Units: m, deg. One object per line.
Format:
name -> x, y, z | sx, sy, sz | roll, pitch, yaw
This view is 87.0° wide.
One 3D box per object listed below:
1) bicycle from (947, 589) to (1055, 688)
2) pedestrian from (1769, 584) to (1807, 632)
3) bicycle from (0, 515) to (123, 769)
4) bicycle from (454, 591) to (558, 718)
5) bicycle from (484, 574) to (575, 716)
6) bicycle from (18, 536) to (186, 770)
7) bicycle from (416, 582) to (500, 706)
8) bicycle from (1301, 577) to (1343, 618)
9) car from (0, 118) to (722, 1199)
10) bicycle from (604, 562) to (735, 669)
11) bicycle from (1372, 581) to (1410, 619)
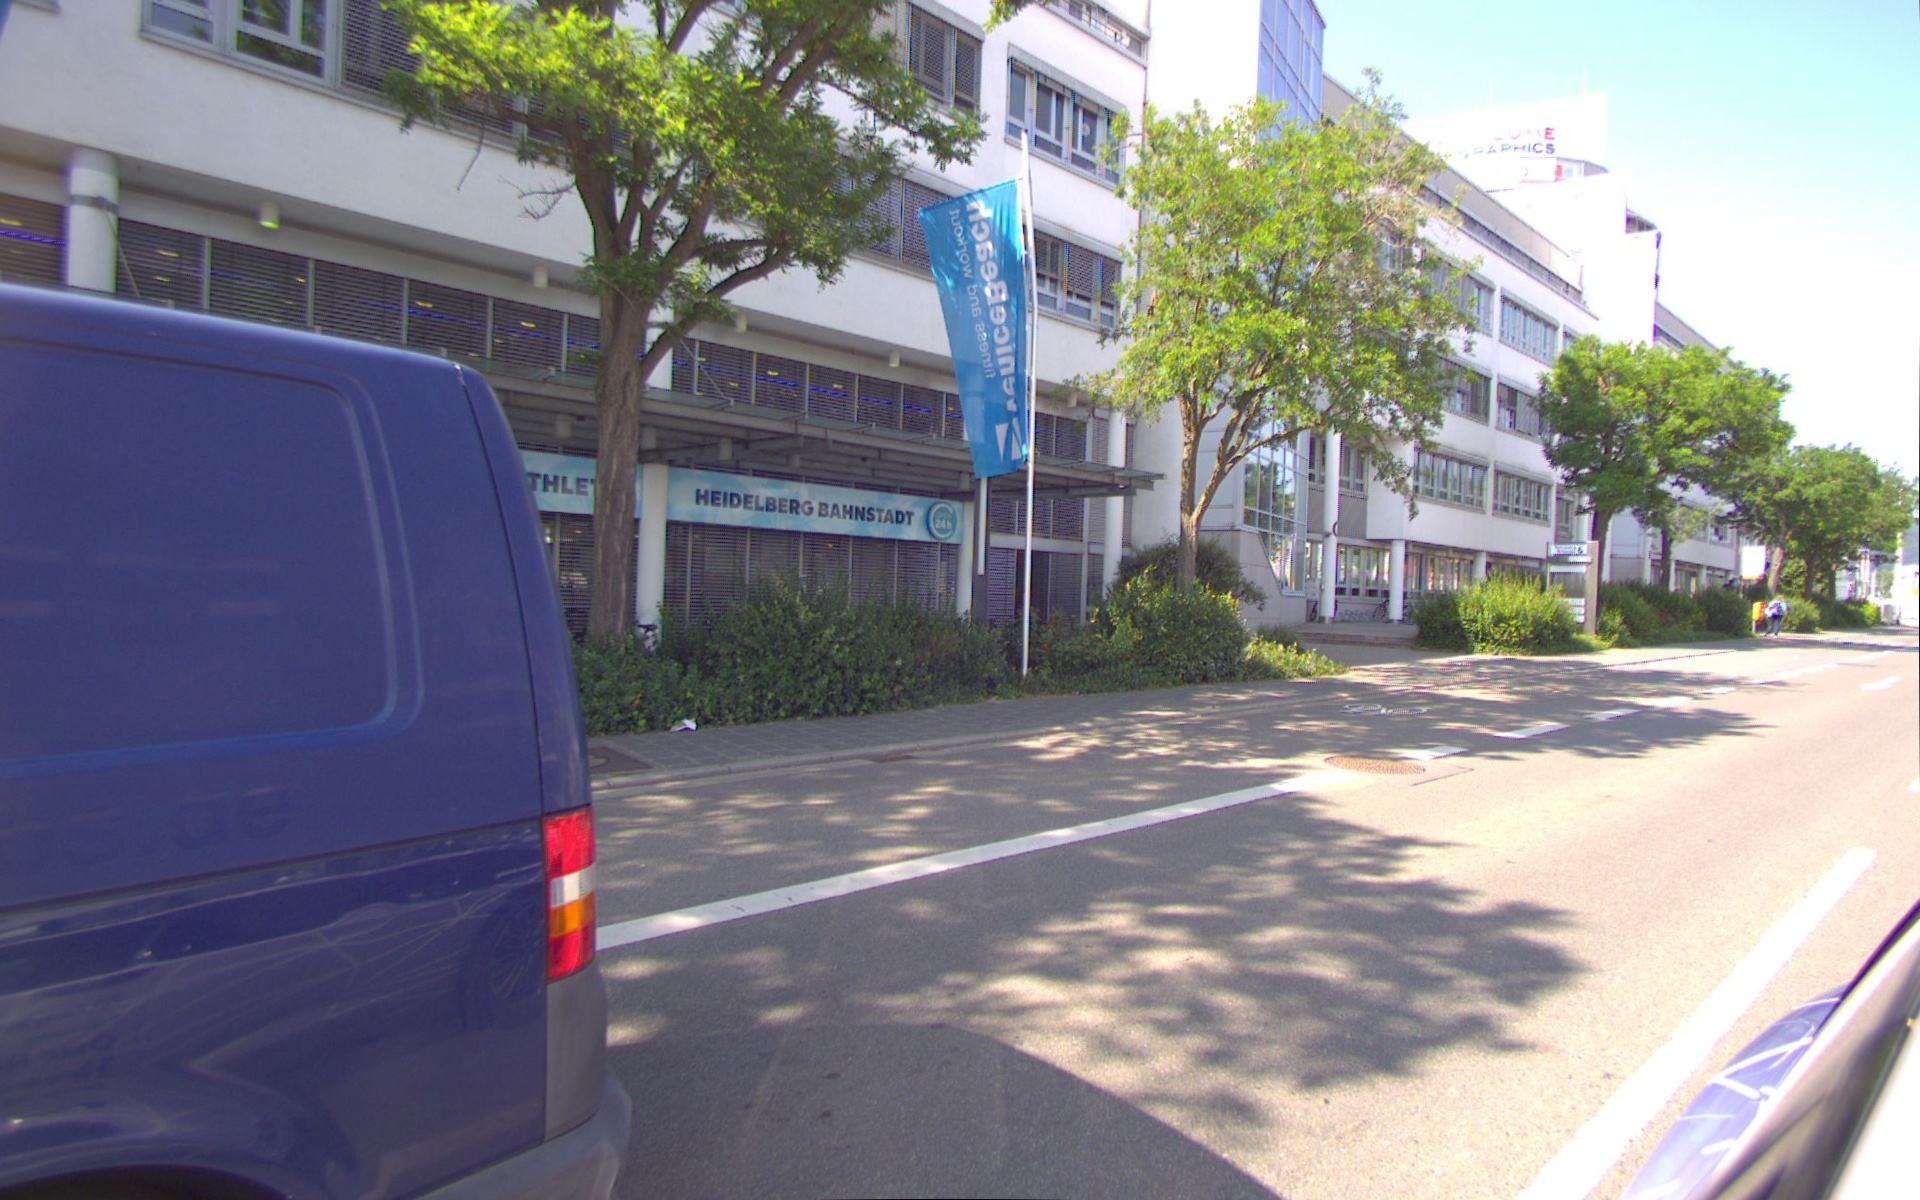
bicycle -> 0.630, 0.535, 14.764 | 0.504, 1.346, 1.856 | 2, 1, 41
pedestrian -> 34.586, 0.308, 42.265 | 1.266, 1.909, 0.942 | 0, 3, -41
bicycle -> -7.368, 0.288, 8.095 | 0.401, 1.868, 1.399 | 1, 1, -11
bicycle -> -5.287, 0.586, 11.892 | 0.496, 1.346, 1.886 | 1, 1, -5
bicycle -> -4.411, 0.411, 10.469 | 0.496, 1.346, 1.693 | 1, 1, -10
bicycle -> -6.953, 0.381, 8.268 | 0.401, 1.743, 1.399 | 1, 1, -11
bicycle -> -5.947, 0.472, 12.070 | 0.496, 1.346, 1.889 | 1, 1, -14
bicycle -> 12.268, -0.081, 34.274 | 1.851, 1.371, 0.506 | 0, 1, -41
car -> -2.883, 0.413, 0.976 | 4.806, 1.972, 1.997 | -1, 2, -41
bicycle -> -3.911, 0.179, 13.567 | 1.868, 1.346, 0.501 | 2, 1, 30
bicycle -> 15.712, -0.002, 36.892 | 1.851, 1.371, 0.506 | 0, 1, -41
